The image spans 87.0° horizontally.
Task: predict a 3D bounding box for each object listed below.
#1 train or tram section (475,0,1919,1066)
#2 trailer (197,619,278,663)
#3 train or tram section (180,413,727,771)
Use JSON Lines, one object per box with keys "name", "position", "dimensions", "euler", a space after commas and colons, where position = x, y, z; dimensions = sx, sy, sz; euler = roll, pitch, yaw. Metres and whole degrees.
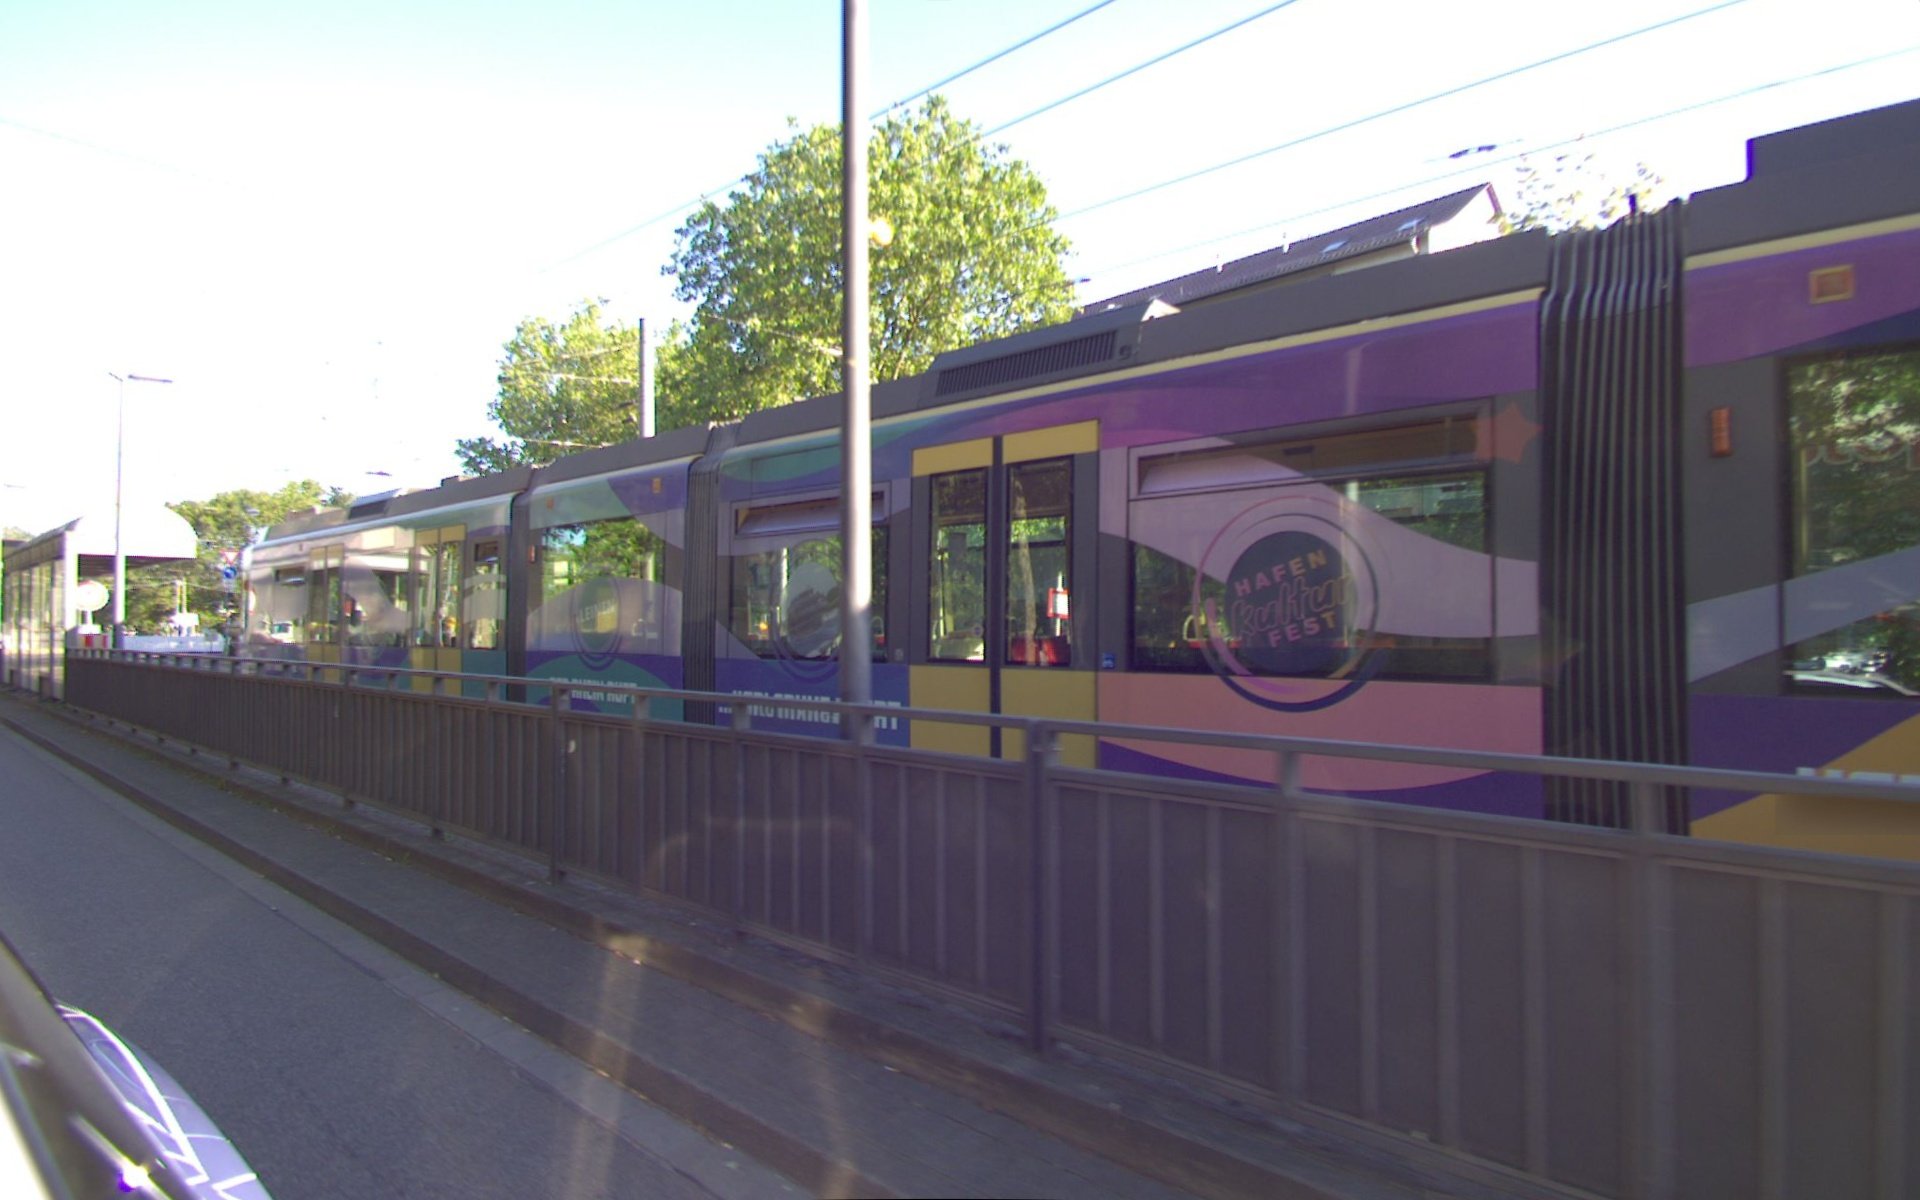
{"name": "train or tram section", "position": [0.598, -0.192, 7.293], "dimensions": [12.781, 3.576, 2.699], "euler": [-2, -2, 42]}
{"name": "trailer", "position": [-36.768, 2.049, 51.471], "dimensions": [4.336, 2.131, 1.977], "euler": [0, -1, 34]}
{"name": "train or tram section", "position": [-8.715, 0.069, 15.599], "dimensions": [13.392, 3.560, 2.819], "euler": [-2, -2, 42]}
